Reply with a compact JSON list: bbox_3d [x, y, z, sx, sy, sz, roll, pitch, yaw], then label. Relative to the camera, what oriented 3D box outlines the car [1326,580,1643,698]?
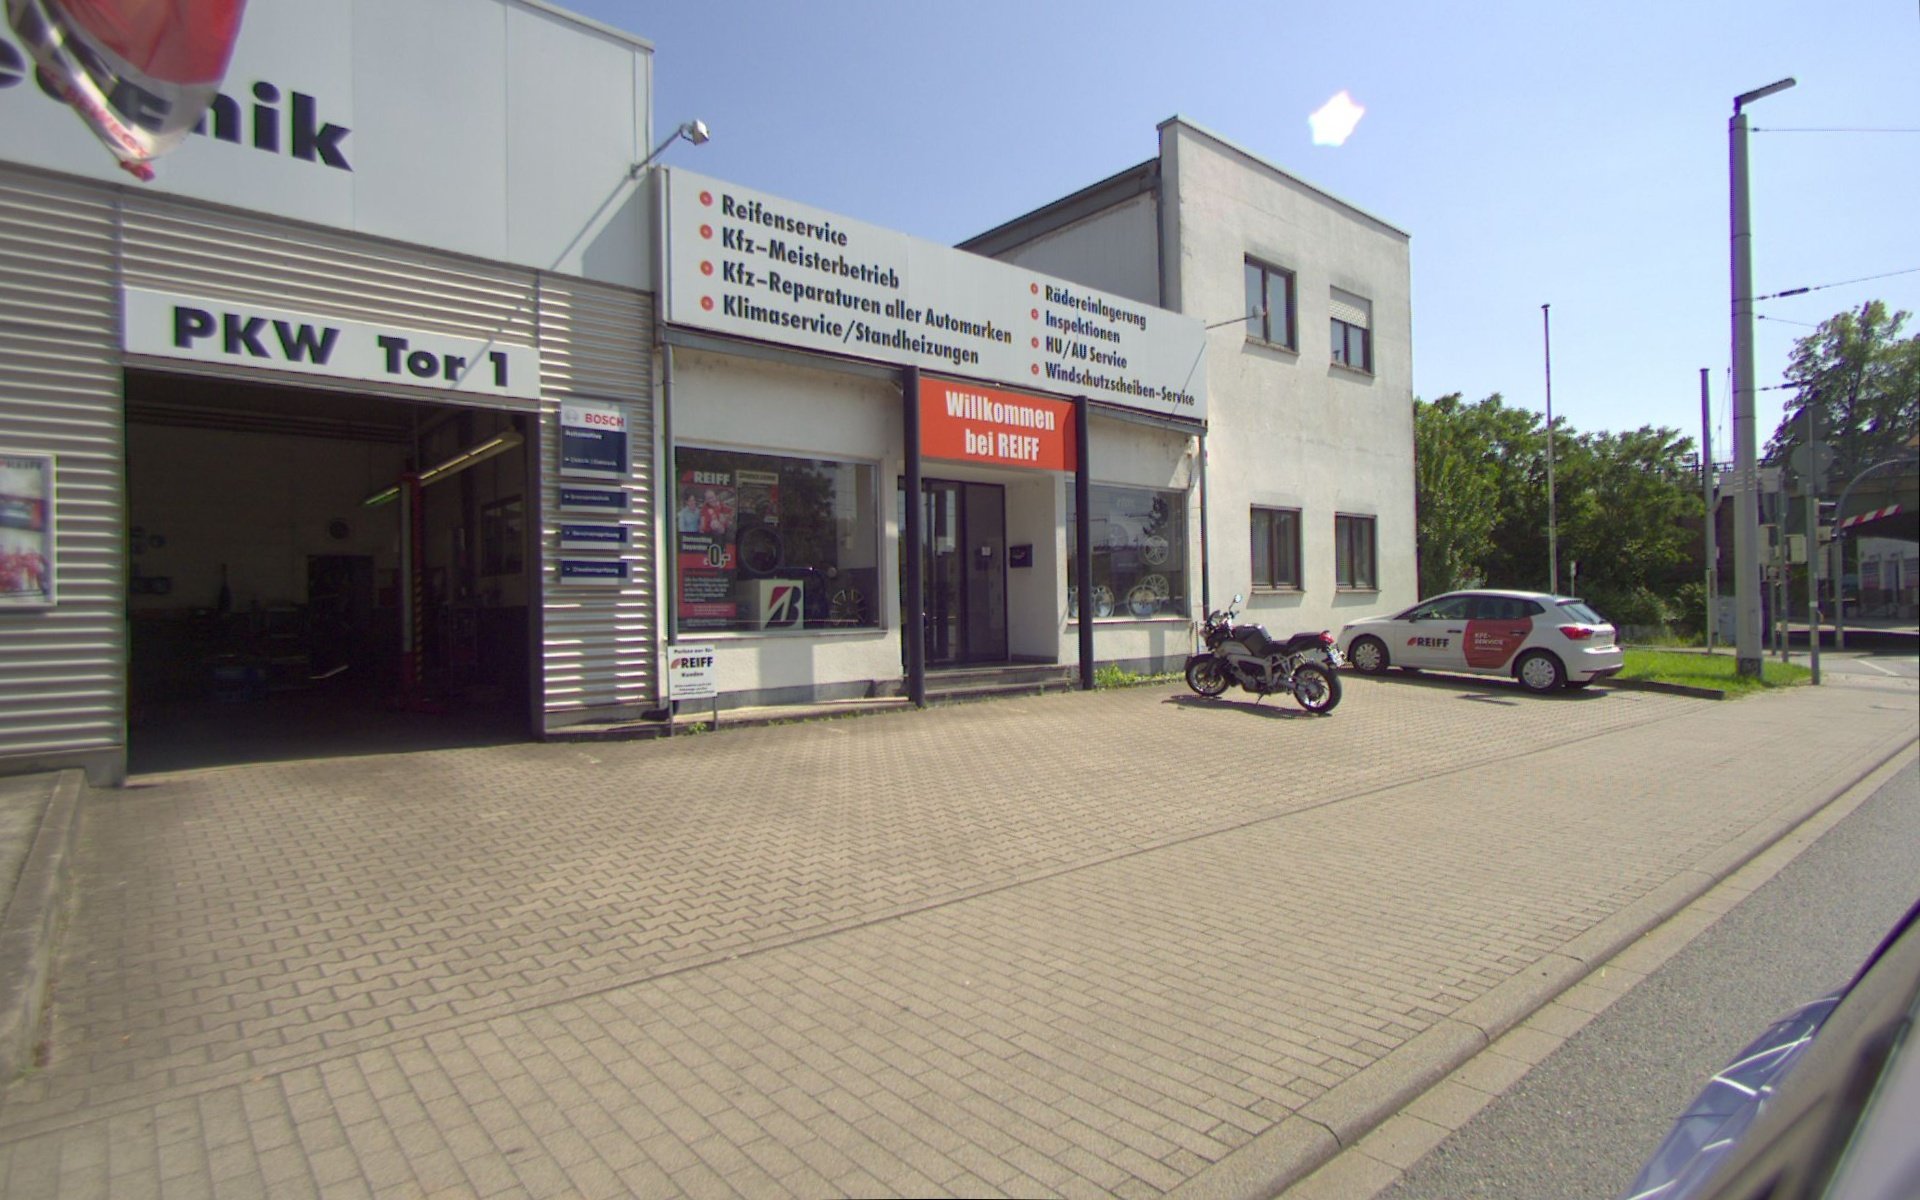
[{"bbox_3d":[8.056,0.486,15.812,1.857,1.480,3.994,0,3,-42],"label":"car"}]

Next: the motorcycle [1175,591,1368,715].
[{"bbox_3d":[3.755,0.584,12.381,0.718,1.324,2.187,-1,3,-41],"label":"motorcycle"}]
